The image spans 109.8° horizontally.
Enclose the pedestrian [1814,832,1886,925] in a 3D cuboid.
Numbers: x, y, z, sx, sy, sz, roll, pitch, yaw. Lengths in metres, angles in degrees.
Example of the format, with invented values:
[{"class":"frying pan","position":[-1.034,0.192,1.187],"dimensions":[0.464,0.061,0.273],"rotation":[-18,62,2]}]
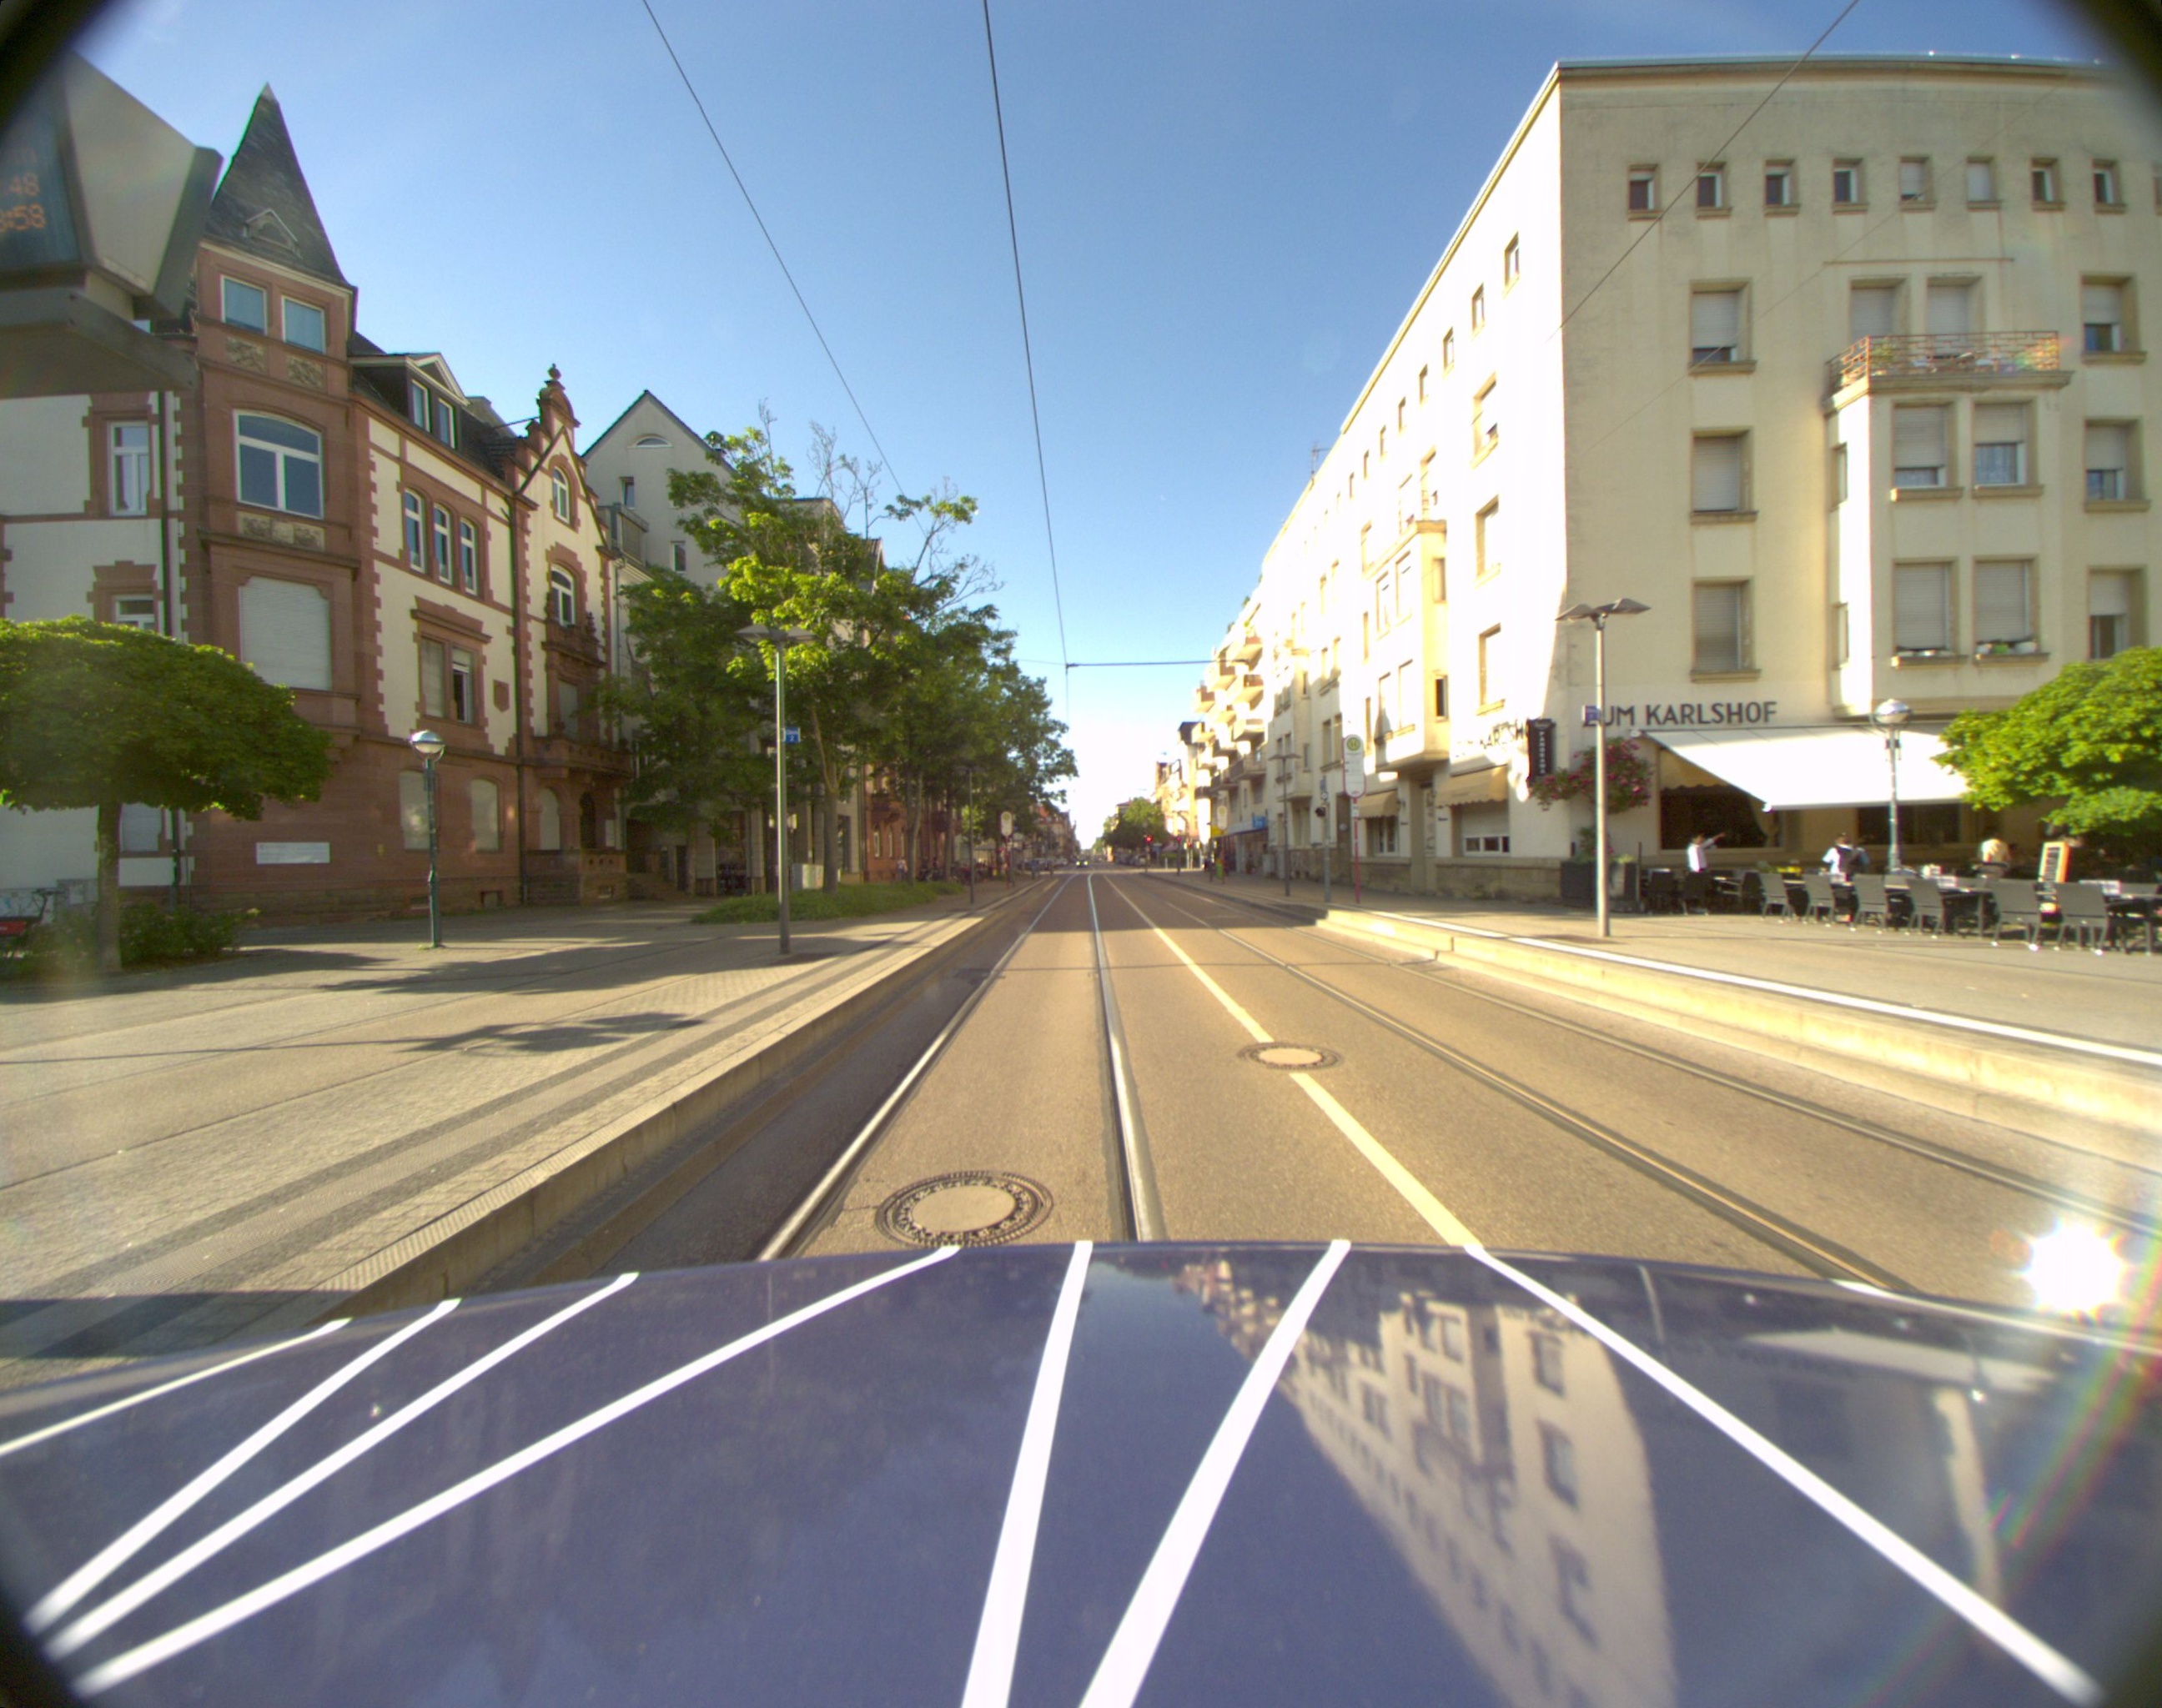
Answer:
[{"class":"pedestrian","position":[13.884,0.448,13.721],"dimensions":[0.675,1.634,0.676],"rotation":[1,-2,-24]}]

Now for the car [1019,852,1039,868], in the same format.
[{"class":"car","position":[-6.903,0.804,101.568],"dimensions":[1.998,2.002,4.001],"rotation":[-1,0,4]}]

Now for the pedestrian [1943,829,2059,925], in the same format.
[{"class":"pedestrian","position":[16.013,0.405,13.245],"dimensions":[1.066,1.634,0.757],"rotation":[0,-2,-4]}]

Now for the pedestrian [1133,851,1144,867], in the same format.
[{"class":"pedestrian","position":[7.121,0.576,93.870],"dimensions":[1.334,1.990,1.138],"rotation":[-1,1,1]}]

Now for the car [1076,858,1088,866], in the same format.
[{"class":"car","position":[0.170,1.306,124.557],"dimensions":[1.998,1.318,3.863],"rotation":[-1,0,1]}]

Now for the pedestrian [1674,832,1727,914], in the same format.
[{"class":"pedestrian","position":[12.647,0.394,15.528],"dimensions":[0.672,1.634,0.752],"rotation":[-1,-3,28]}]

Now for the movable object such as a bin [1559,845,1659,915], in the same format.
[{"class":"movable object such as a bin","position":[11.180,0.531,16.129],"dimensions":[1.318,1.392,1.128],"rotation":[-1,1,0]}]

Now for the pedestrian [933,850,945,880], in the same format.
[{"class":"pedestrian","position":[-9.608,0.742,51.447],"dimensions":[0.653,2.002,0.559],"rotation":[-1,1,3]}]

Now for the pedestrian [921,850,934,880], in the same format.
[{"class":"pedestrian","position":[-10.405,0.762,51.526],"dimensions":[0.653,2.002,0.559],"rotation":[-1,1,3]}]

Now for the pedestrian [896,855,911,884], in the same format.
[{"class":"pedestrian","position":[-10.812,0.935,46.303],"dimensions":[0.742,1.725,0.877],"rotation":[-1,1,-6]}]
